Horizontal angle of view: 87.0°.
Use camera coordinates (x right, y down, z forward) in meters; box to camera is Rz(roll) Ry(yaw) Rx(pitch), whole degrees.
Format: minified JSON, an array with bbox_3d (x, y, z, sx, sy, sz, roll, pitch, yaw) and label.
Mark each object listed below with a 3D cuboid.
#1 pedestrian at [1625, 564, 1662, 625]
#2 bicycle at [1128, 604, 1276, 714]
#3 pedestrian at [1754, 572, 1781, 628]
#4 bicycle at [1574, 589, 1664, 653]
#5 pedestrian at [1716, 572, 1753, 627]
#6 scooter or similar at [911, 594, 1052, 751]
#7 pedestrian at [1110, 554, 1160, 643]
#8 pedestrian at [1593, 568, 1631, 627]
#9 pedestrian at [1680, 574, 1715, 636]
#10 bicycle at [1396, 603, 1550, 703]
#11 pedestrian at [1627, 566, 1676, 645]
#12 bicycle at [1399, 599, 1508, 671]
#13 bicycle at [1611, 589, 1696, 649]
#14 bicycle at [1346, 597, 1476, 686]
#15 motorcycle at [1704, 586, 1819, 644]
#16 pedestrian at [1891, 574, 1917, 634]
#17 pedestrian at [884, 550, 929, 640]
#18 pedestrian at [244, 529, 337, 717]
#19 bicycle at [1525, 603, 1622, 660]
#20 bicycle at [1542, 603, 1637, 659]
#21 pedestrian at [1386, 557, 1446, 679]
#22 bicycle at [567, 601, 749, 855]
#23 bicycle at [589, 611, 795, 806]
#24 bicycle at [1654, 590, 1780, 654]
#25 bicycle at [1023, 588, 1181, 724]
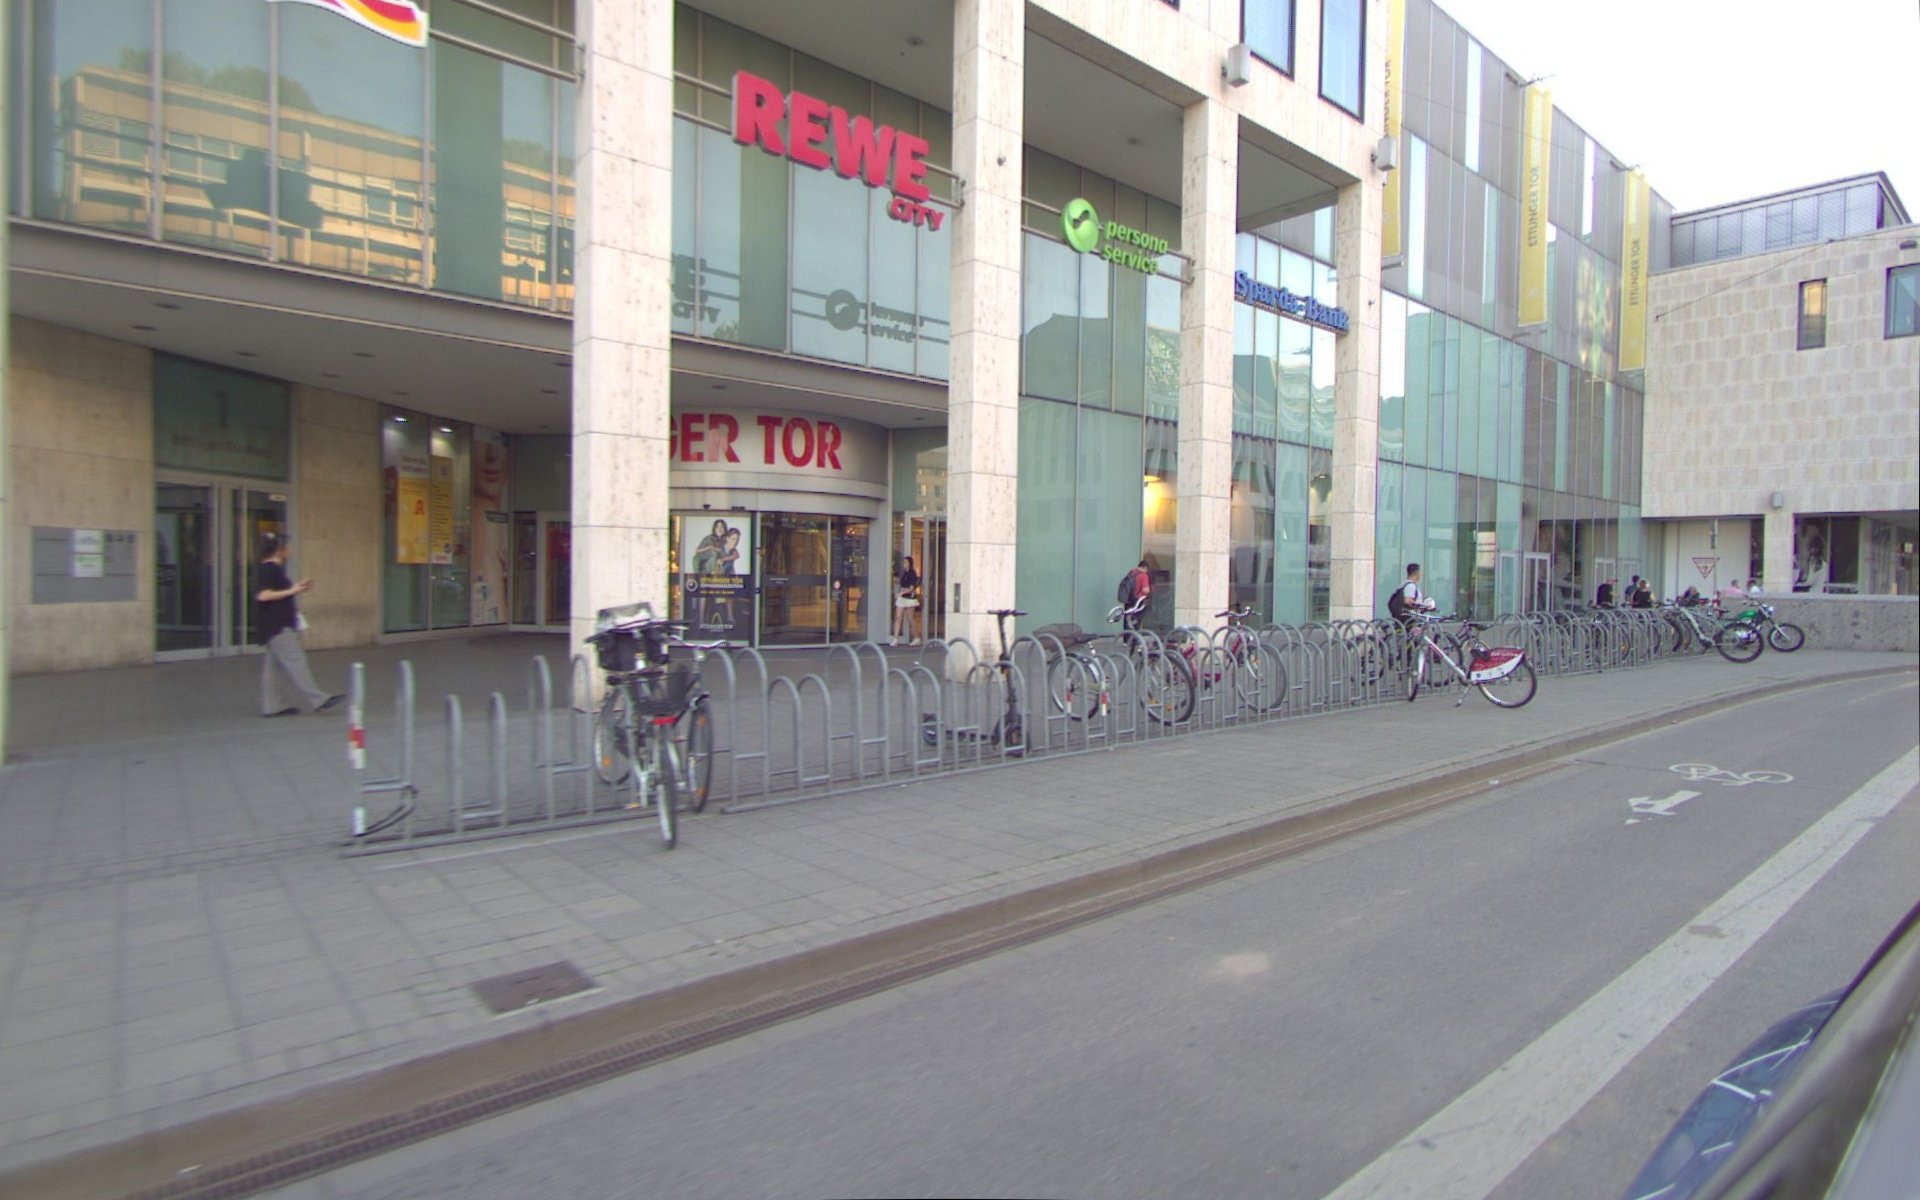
[{"bbox_3d":[19.431,-0.165,28.767,0.697,1.717,0.807,2,2,45],"label":"pedestrian"},{"bbox_3d":[2.612,0.610,11.049,0.543,1.120,1.516,0,-1,-43],"label":"bicycle"},{"bbox_3d":[26.150,-0.008,32.770,0.644,1.765,0.494,0,1,-38],"label":"pedestrian"},{"bbox_3d":[12.528,0.387,19.263,0.509,1.178,1.344,0,-1,-41],"label":"bicycle"},{"bbox_3d":[25.322,-0.016,33.097,0.644,1.765,0.794,0,1,-38],"label":"pedestrian"},{"bbox_3d":[0.165,0.573,8.657,0.484,1.214,1.194,0,2,-44],"label":"scooter or similar"},{"bbox_3d":[3.352,-0.038,19.424,0.695,1.672,0.629,0,1,-39],"label":"pedestrian"},{"bbox_3d":[18.949,-0.076,29.411,0.739,1.668,0.807,2,2,45],"label":"pedestrian"},{"bbox_3d":[21.912,0.136,30.053,0.797,1.802,0.619,0,1,-38],"label":"pedestrian"},{"bbox_3d":[5.859,0.577,11.623,0.458,1.077,1.518,0,-1,-39],"label":"bicycle"},{"bbox_3d":[15.102,0.105,22.121,0.802,1.663,0.640,1,1,31],"label":"pedestrian"},{"bbox_3d":[7.706,0.529,15.824,1.439,1.078,0.572,-1,-1,39],"label":"bicycle"},{"bbox_3d":[14.093,0.385,20.586,0.509,1.178,1.344,0,-1,-41],"label":"bicycle"},{"bbox_3d":[6.069,0.534,13.686,0.570,1.138,1.519,0,-1,-36],"label":"bicycle"},{"bbox_3d":[18.281,0.324,23.127,0.473,1.239,2.004,0,2,-43],"label":"motorcycle"},{"bbox_3d":[28.324,0.105,30.361,0.483,1.765,0.455,0,1,-38],"label":"pedestrian"},{"bbox_3d":[-1.019,-0.106,19.238,0.697,1.672,0.627,1,1,13],"label":"pedestrian"},{"bbox_3d":[-6.282,0.189,9.490,0.695,1.659,0.793,0,1,-36],"label":"pedestrian"},{"bbox_3d":[10.641,0.534,17.577,0.509,0.944,1.344,0,-1,-41],"label":"bicycle"},{"bbox_3d":[11.152,0.536,17.956,0.509,0.944,1.344,0,-1,-41],"label":"bicycle"},{"bbox_3d":[6.594,0.237,14.638,0.702,1.713,0.623,1,1,31],"label":"pedestrian"},{"bbox_3d":[-1.759,0.633,5.760,0.538,1.198,1.485,0,2,-35],"label":"bicycle"},{"bbox_3d":[-1.865,0.664,6.877,1.768,1.092,0.475,2,2,43],"label":"bicycle"},{"bbox_3d":[14.263,0.403,19.110,0.458,1.161,1.837,0,-1,-39],"label":"bicycle"},{"bbox_3d":[1.378,0.517,10.047,0.607,1.243,1.517,0,-1,-41],"label":"bicycle"}]
